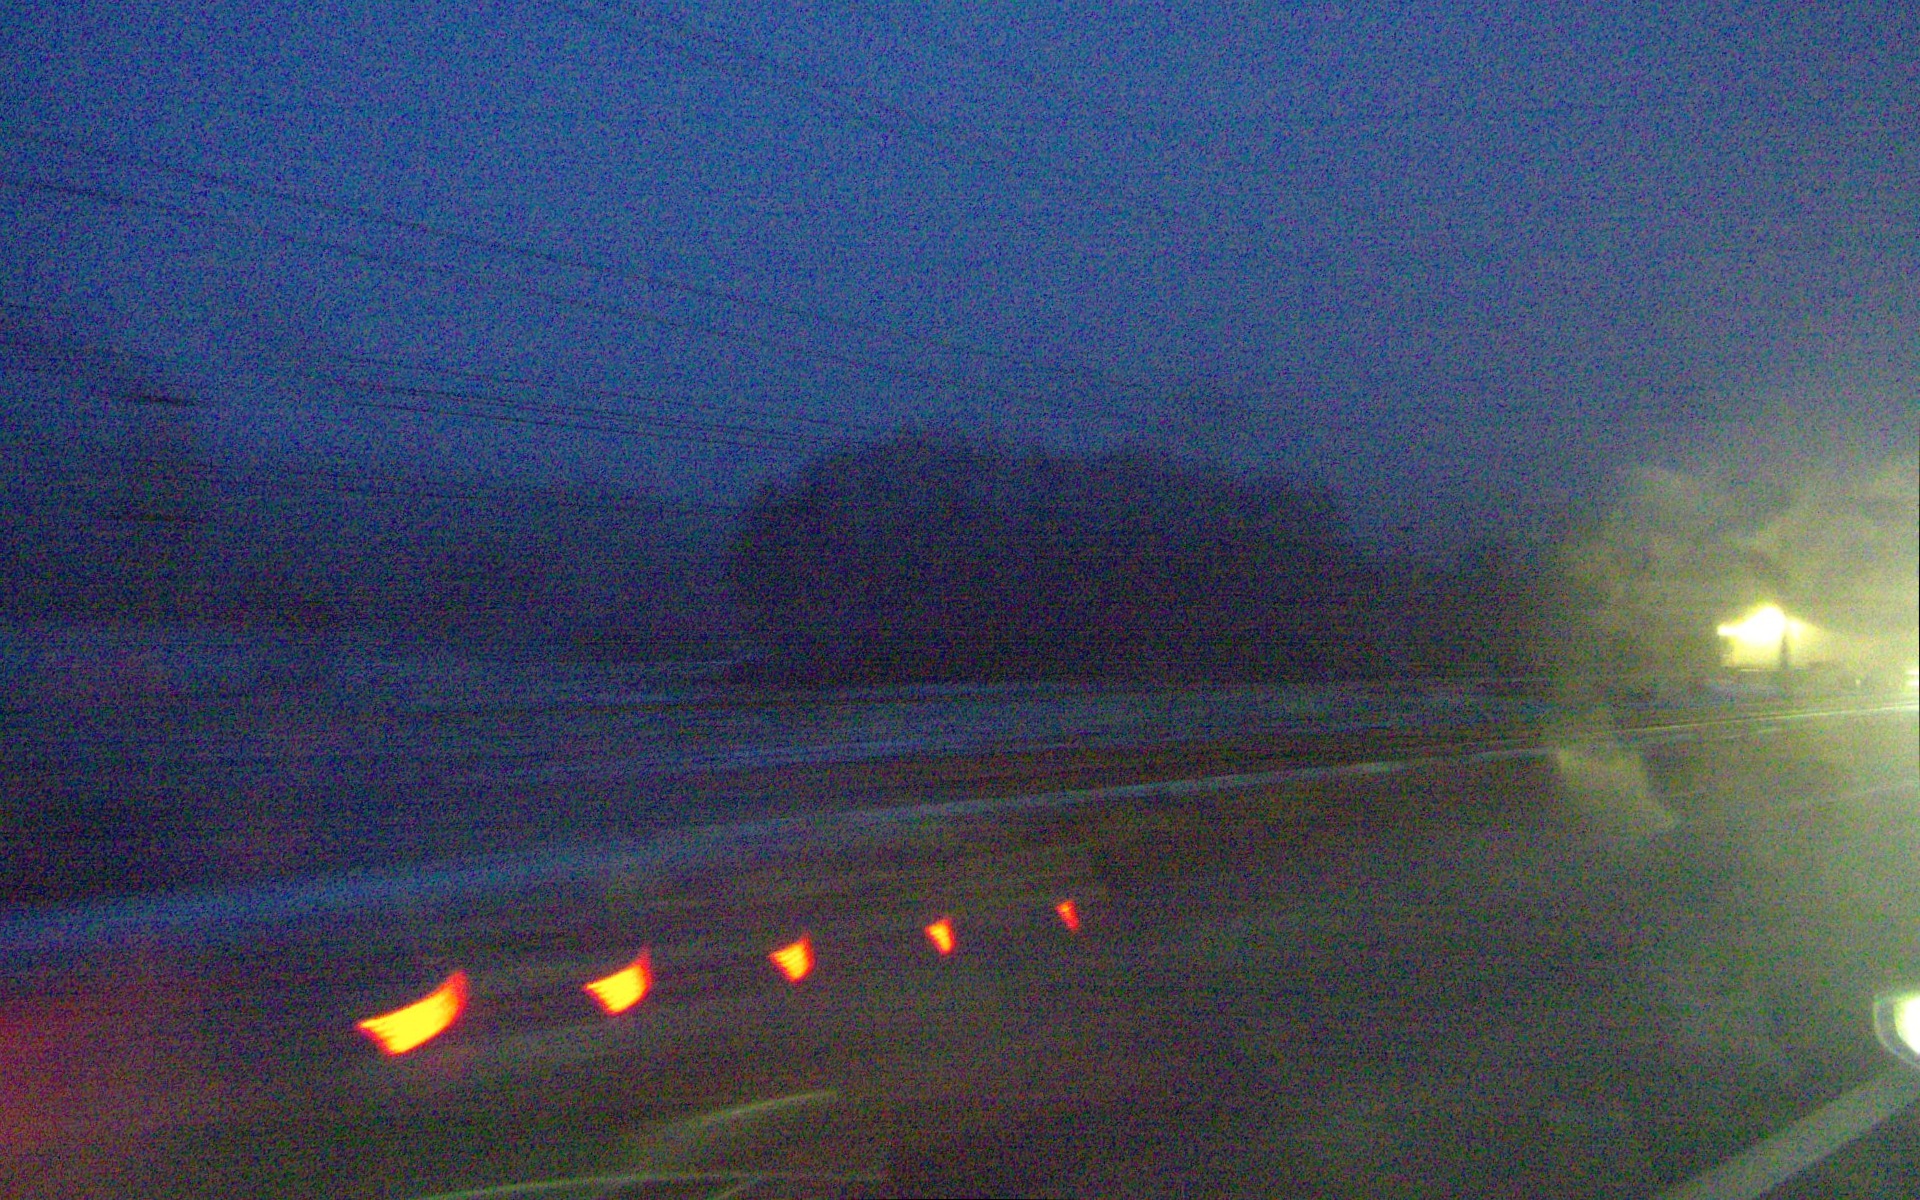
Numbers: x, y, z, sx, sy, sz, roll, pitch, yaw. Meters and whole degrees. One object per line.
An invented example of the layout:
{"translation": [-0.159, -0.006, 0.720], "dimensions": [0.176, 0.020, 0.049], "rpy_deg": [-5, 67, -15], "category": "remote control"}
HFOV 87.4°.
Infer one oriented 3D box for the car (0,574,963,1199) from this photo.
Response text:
{"translation": [-2.337, 0.758, 1.827], "dimensions": [4.438, 1.539, 1.757], "rpy_deg": [1, -3, -31], "category": "car"}
